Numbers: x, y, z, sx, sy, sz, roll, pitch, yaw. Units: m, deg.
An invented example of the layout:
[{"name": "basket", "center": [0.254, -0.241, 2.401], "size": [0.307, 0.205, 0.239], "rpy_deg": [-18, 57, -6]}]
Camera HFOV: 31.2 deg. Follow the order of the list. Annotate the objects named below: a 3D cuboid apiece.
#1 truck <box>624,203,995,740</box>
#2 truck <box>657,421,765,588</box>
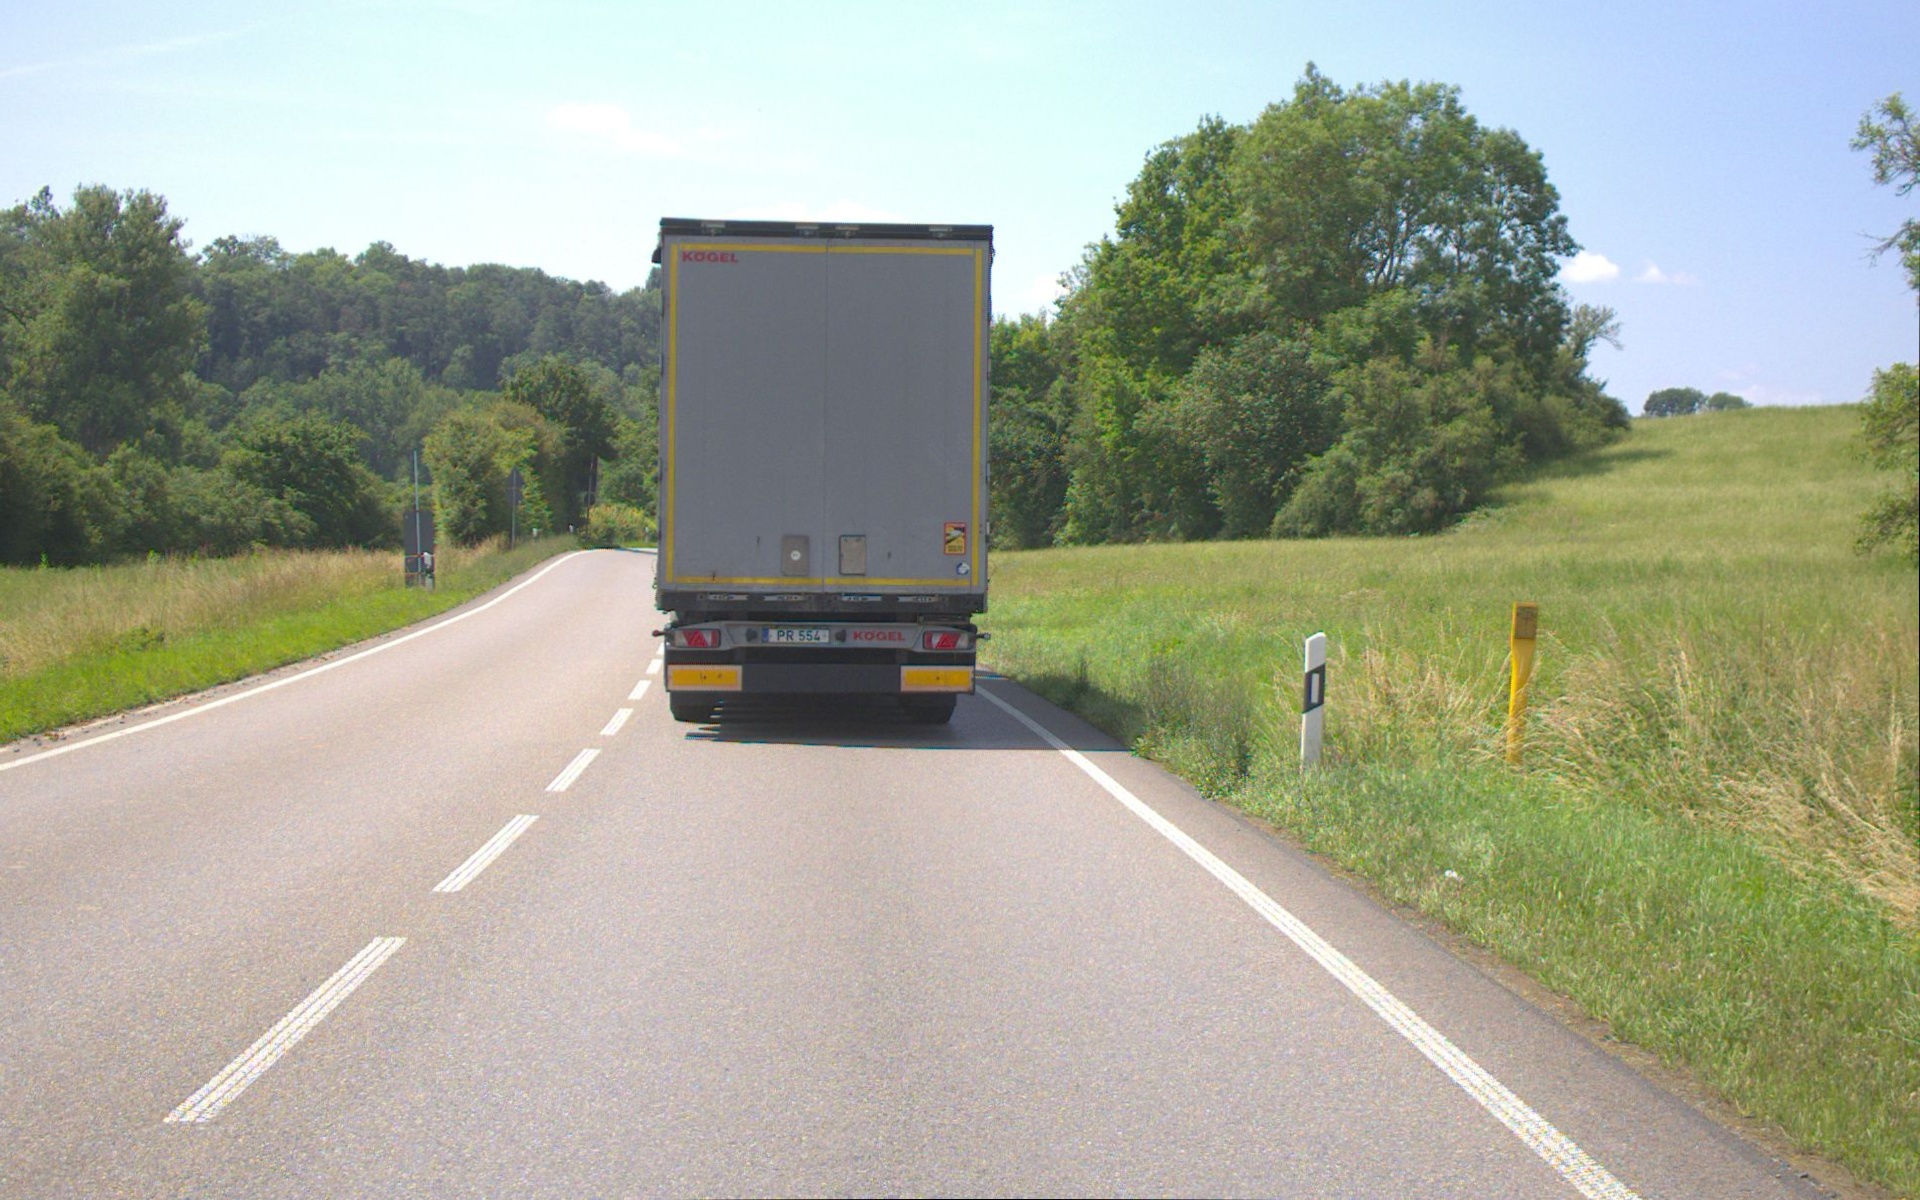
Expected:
[{"name": "truck", "center": [-1.543, -1.081, 33.672], "size": [2.801, 4.055, 15.327], "rpy_deg": [0, 1, -3]}, {"name": "truck", "center": [-8.378, -3.366, 114.087], "size": [3.104, 4.688, 16.596], "rpy_deg": [-2, 4, -5]}]
